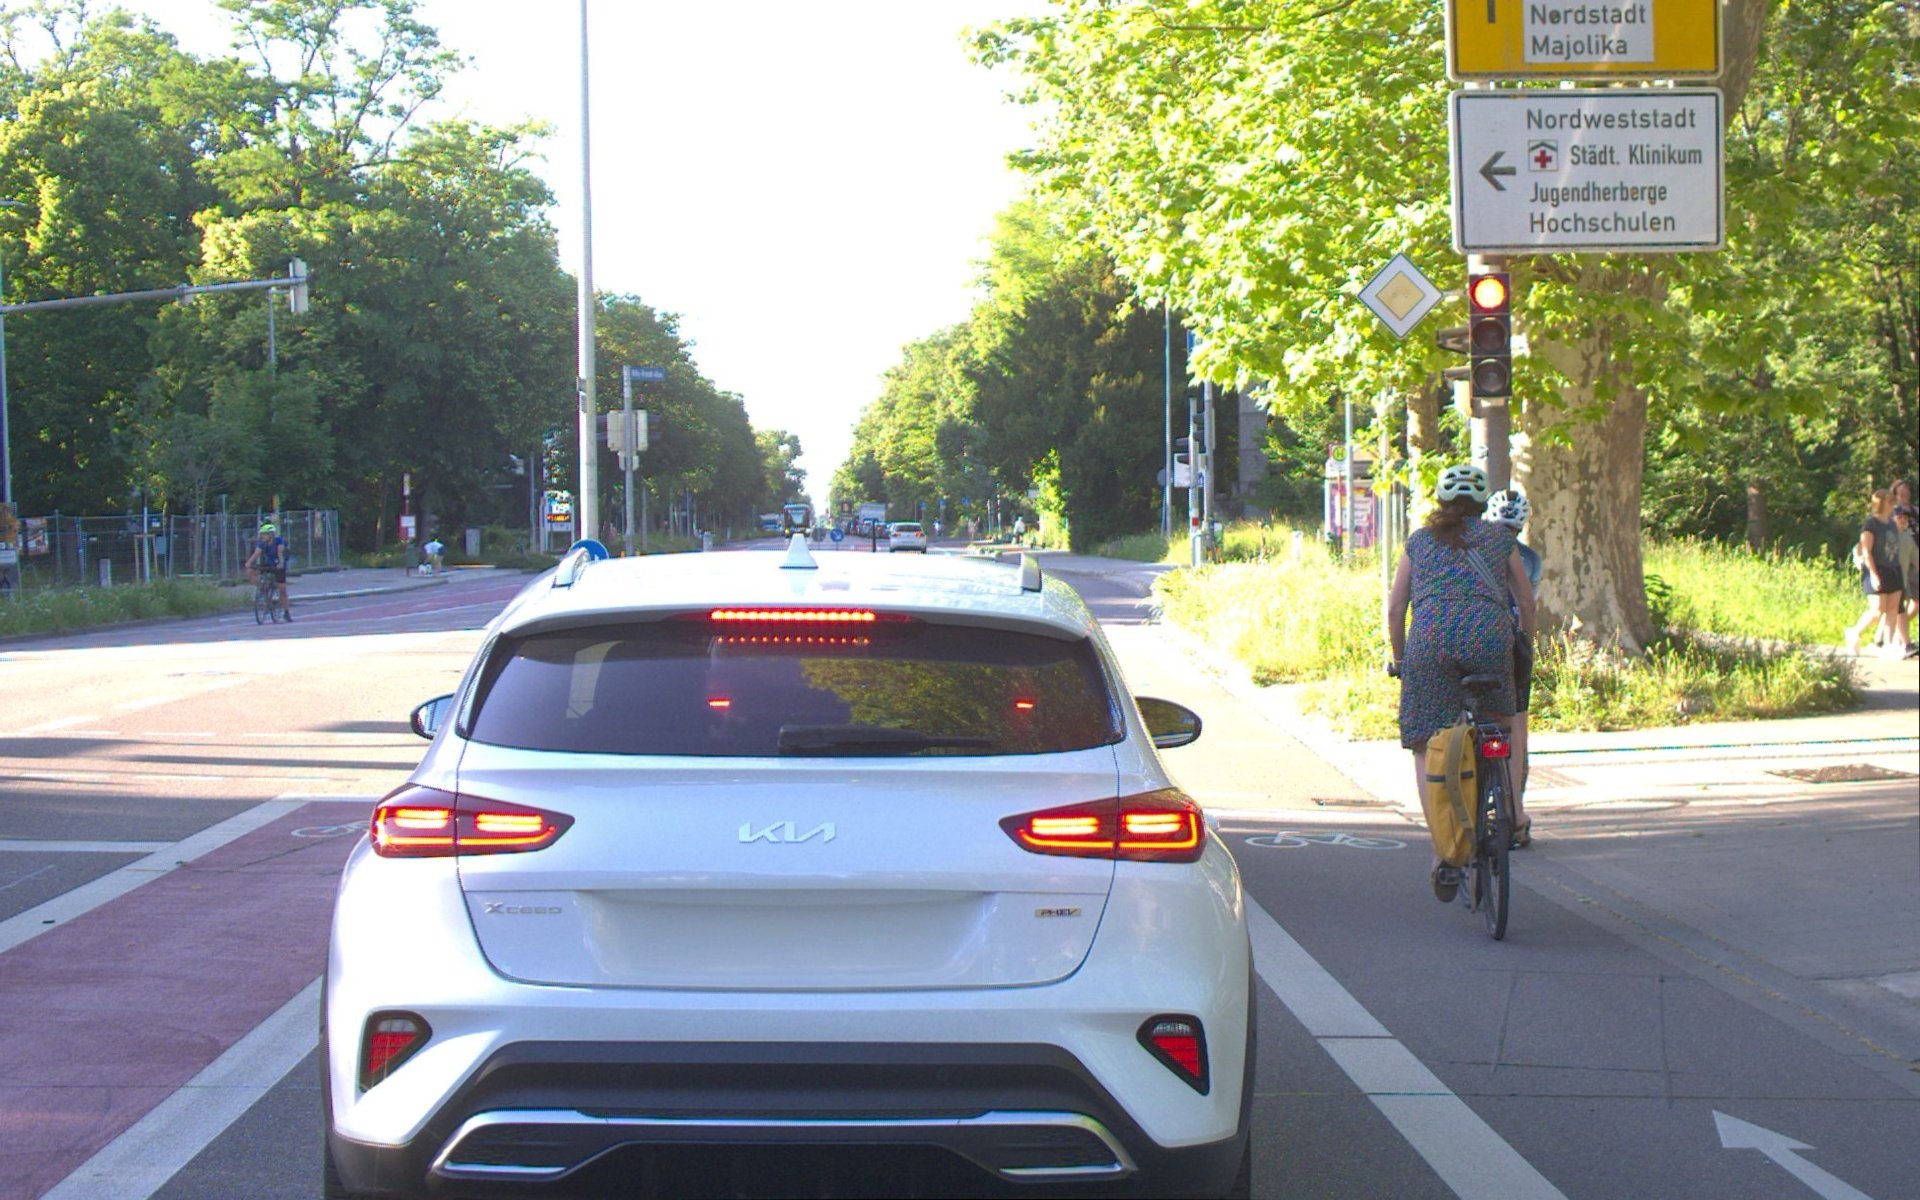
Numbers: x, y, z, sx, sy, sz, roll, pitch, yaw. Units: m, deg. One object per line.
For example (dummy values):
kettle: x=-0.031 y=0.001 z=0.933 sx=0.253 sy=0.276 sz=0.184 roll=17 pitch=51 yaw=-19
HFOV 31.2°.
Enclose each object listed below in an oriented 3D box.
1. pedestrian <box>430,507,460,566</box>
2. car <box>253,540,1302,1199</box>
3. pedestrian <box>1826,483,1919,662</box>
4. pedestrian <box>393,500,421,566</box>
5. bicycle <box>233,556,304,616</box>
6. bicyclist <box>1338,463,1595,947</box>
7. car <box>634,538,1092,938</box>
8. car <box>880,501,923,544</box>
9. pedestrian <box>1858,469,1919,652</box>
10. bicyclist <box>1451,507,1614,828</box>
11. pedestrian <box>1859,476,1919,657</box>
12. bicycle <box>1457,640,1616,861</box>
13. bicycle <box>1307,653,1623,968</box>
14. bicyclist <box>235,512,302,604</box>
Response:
pedestrian: x=-15.792 y=-1.943 z=105.468 sx=0.785 sy=1.779 sz=0.751 roll=0 pitch=1 yaw=0
car: x=-0.380 y=0.616 z=7.958 sx=1.821 sy=1.475 sz=3.937 roll=0 pitch=1 yaw=-2
pedestrian: x=8.789 y=-0.269 z=33.030 sx=0.689 sy=1.693 sz=0.644 roll=-2 pitch=1 yaw=-7
pedestrian: x=-16.884 y=-2.039 z=104.992 sx=0.641 sy=2.007 sz=0.753 roll=0 pitch=1 yaw=11
bicycle: x=-12.240 y=-0.264 z=60.925 sx=0.663 sy=0.985 sz=2.504 roll=-1 pitch=1 yaw=2
bicyclist: x=1.948 y=0.378 z=13.374 sx=0.753 sy=1.789 sz=1.165 roll=1 pitch=1 yaw=-2
car: x=-0.439 y=0.498 z=14.990 sx=1.728 sy=1.478 sz=3.517 roll=-1 pitch=1 yaw=-2
car: x=-2.785 y=-3.718 z=165.267 sx=1.993 sy=2.007 sz=4.000 roll=-2 pitch=1 yaw=-1
pedestrian: x=9.214 y=-0.391 z=33.614 sx=0.615 sy=1.765 sz=0.647 roll=-2 pitch=1 yaw=-7
bicyclist: x=2.740 y=0.311 z=16.501 sx=0.554 sy=1.473 sz=0.717 roll=-4 pitch=1 yaw=-2
pedestrian: x=9.516 y=-0.344 z=34.225 sx=0.817 sy=1.765 sz=0.832 roll=-2 pitch=1 yaw=-7
bicycle: x=2.765 y=0.703 z=16.595 sx=0.401 sy=0.953 sz=1.551 roll=-4 pitch=1 yaw=-2
bicycle: x=1.934 y=0.772 z=13.565 sx=0.758 sy=1.009 sz=2.570 roll=1 pitch=1 yaw=-2
bicyclist: x=-12.252 y=-0.755 z=60.929 sx=0.875 sy=1.603 sz=1.188 roll=-1 pitch=1 yaw=1
